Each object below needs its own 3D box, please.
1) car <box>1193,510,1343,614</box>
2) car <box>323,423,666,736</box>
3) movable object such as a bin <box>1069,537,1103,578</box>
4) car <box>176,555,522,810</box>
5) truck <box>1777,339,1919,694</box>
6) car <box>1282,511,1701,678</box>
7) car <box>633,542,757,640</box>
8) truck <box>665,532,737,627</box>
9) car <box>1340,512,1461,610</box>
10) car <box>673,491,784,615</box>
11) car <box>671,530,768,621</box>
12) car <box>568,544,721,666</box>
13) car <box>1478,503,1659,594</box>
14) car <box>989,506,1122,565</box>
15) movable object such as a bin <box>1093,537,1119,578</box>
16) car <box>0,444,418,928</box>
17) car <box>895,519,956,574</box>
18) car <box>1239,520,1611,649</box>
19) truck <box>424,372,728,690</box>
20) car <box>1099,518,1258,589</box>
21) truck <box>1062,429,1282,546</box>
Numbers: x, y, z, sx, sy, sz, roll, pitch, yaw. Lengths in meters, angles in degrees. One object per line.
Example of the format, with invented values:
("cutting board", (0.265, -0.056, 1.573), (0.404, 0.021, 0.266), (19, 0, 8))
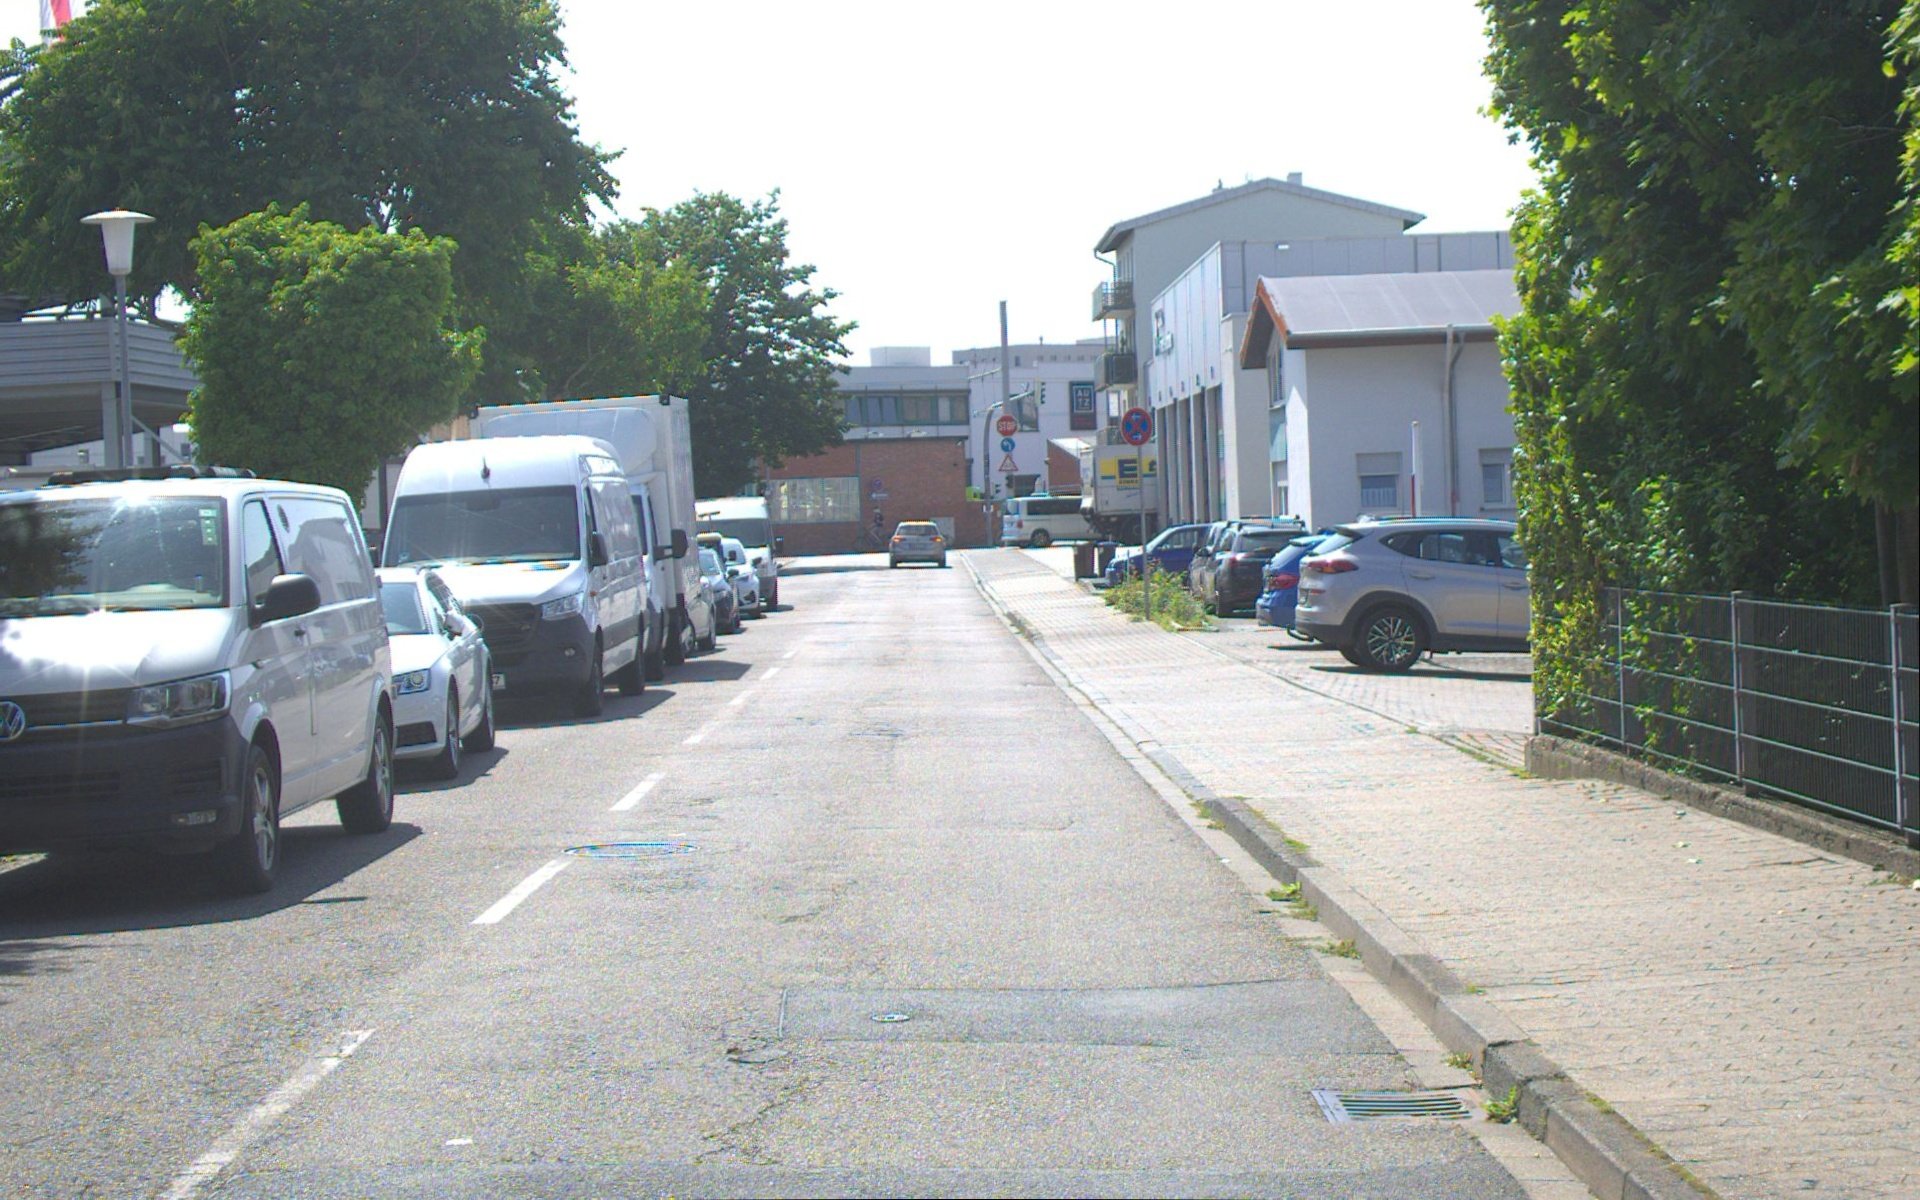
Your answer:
("car", (5.000, -0.665, 56.417), (1.858, 1.562, 4.952), (-2, 1, -1))
("car", (-4.322, -0.216, 33.194), (2.168, 2.587, 6.920), (-3, 1, 1))
("movable object such as a bin", (2.978, -1.006, 81.450), (0.568, 0.943, 0.556), (-2, 2, 33))
("car", (-4.220, 0.508, 24.387), (1.714, 1.538, 4.401), (-4, 1, -2))
("truck", (12.292, -0.753, 34.468), (7.518, 3.411, 2.527), (1, 1, 0))
("car", (5.698, -0.072, 37.179), (4.200, 1.676, 1.767), (1, 1, -1))
("car", (-4.394, -0.177, 57.534), (1.704, 1.458, 4.114), (-3, 1, 0))
("truck", (-4.752, -0.406, 63.312), (1.138, 1.616, 3.142), (-4, 1, -3))
("car", (7.576, -0.703, 59.377), (1.760, 1.589, 3.619), (1, 2, 3))
("car", (-4.808, -1.022, 72.089), (2.005, 2.358, 5.230), (-4, 2, -2))
("car", (-4.713, -0.502, 66.921), (1.704, 1.618, 3.974), (-3, 1, -5))
("car", (-4.341, 0.032, 47.893), (1.741, 1.516, 4.310), (-2, 1, -1))
("car", (10.971, -0.924, 62.244), (1.759, 1.491, 4.151), (-4, 1, -11))
("car", (3.706, -2.506, 133.267), (4.653, 1.951, 1.917), (-4, 0, -19))
("movable object such as a bin", (3.468, -1.007, 81.863), (0.514, 0.943, 0.487), (-2, 2, 11))
("car", (-4.143, 0.365, 17.210), (1.971, 2.007, 5.056), (-4, 1, 0))
("car", (-1.123, -1.721, 111.203), (1.890, 1.679, 3.958), (1, 1, -1))
("car", (5.800, -0.210, 43.235), (4.352, 1.436, 1.892), (-2, 1, -1))
("truck", (-4.432, -0.791, 41.068), (2.685, 3.355, 7.130), (-3, 1, 0))
("car", (4.677, -1.008, 73.854), (3.253, 1.394, 1.673), (-2, 1, 0))
("truck", (7.695, -4.094, 125.013), (7.358, 3.632, 2.768), (-5, 2, -6))
